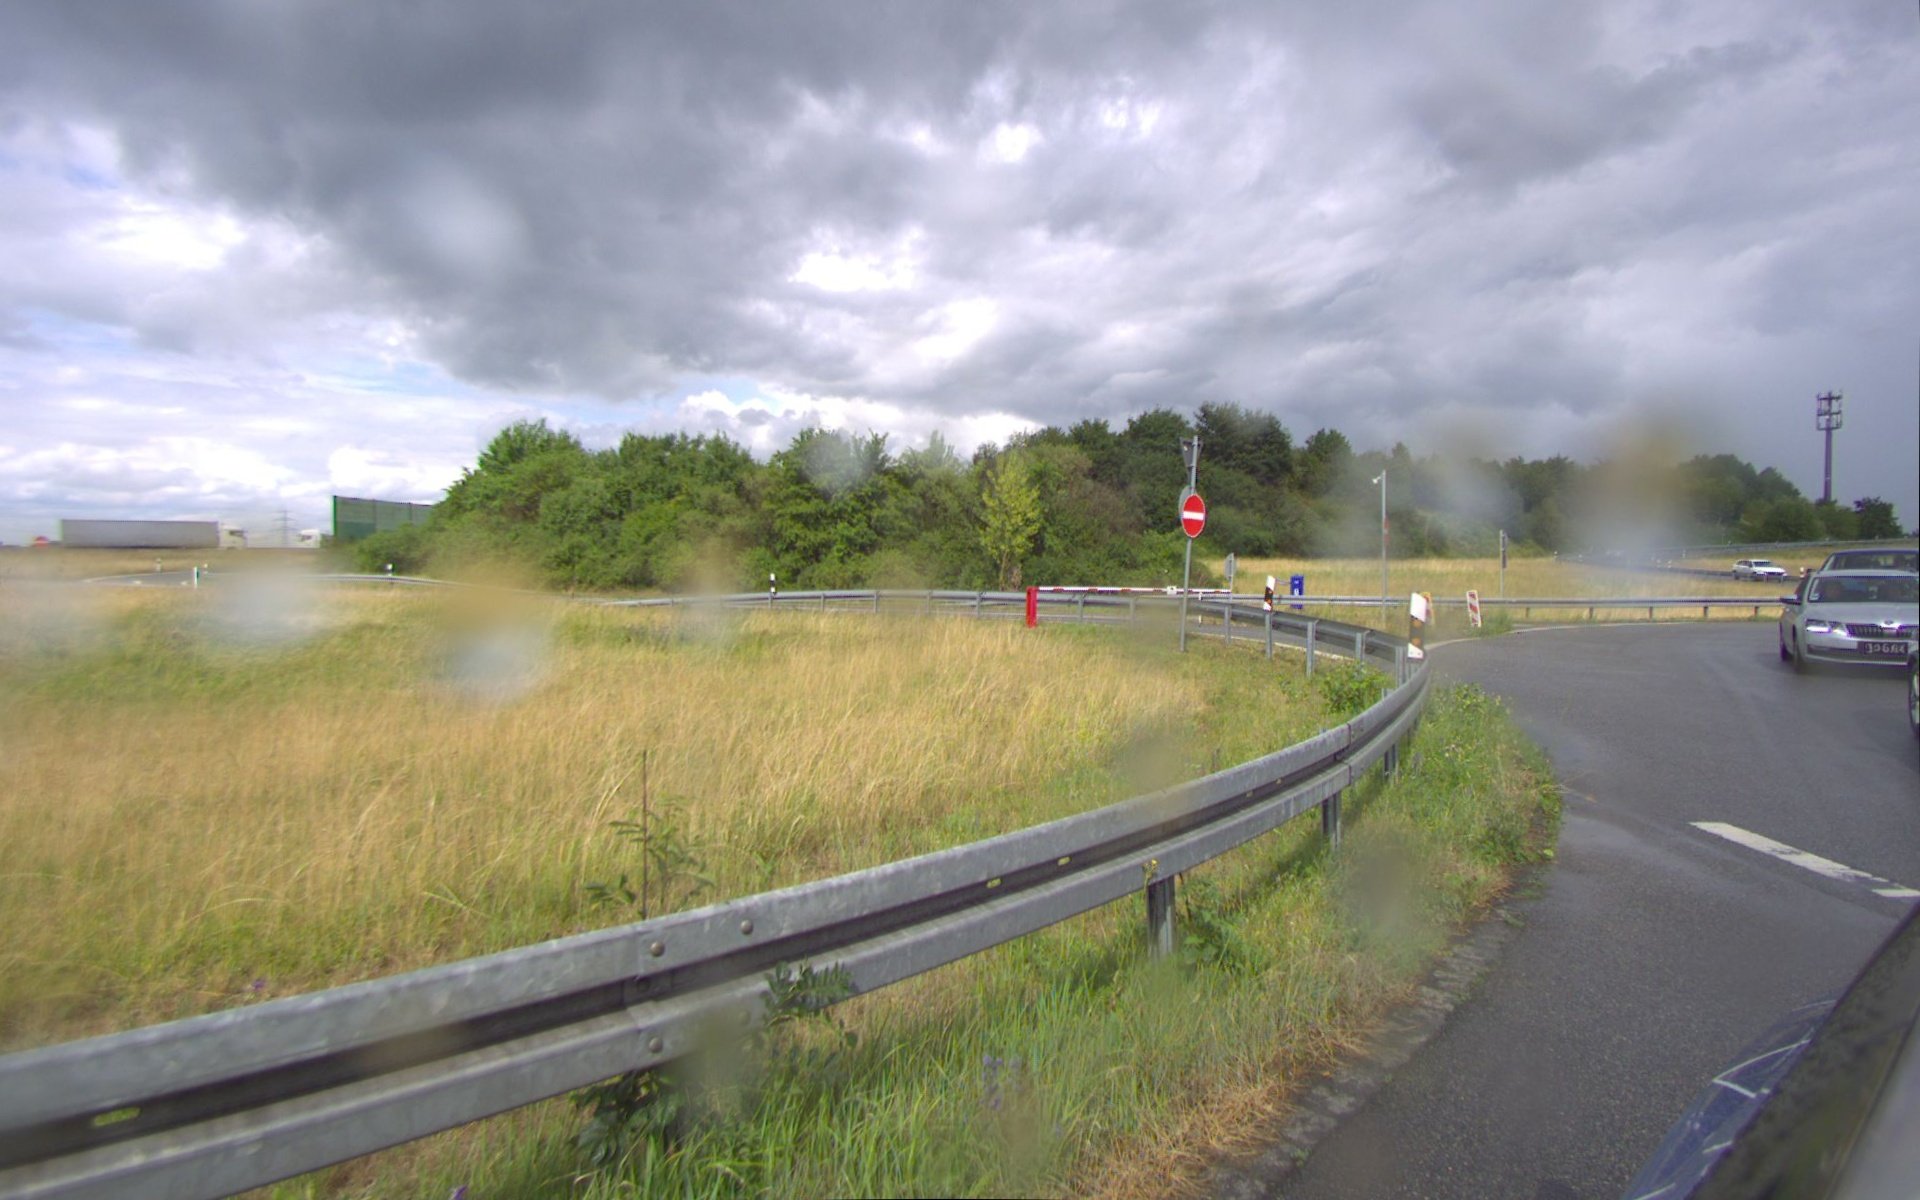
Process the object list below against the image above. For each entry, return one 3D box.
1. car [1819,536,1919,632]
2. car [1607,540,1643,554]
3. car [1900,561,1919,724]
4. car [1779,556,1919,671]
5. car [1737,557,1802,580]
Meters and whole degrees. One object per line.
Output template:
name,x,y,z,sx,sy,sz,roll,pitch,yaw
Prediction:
car,21.164,-0.448,22.510,5.577,1.938,1.893,-3,2,-36
car,82.883,-6.566,126.121,3.813,1.663,1.771,-2,1,-21
car,8.247,0.390,7.111,1.760,1.409,4.534,0,1,35
car,12.887,0.108,14.313,1.787,1.416,4.294,0,2,36
car,56.333,-2.201,70.477,1.947,1.555,3.915,1,2,12
